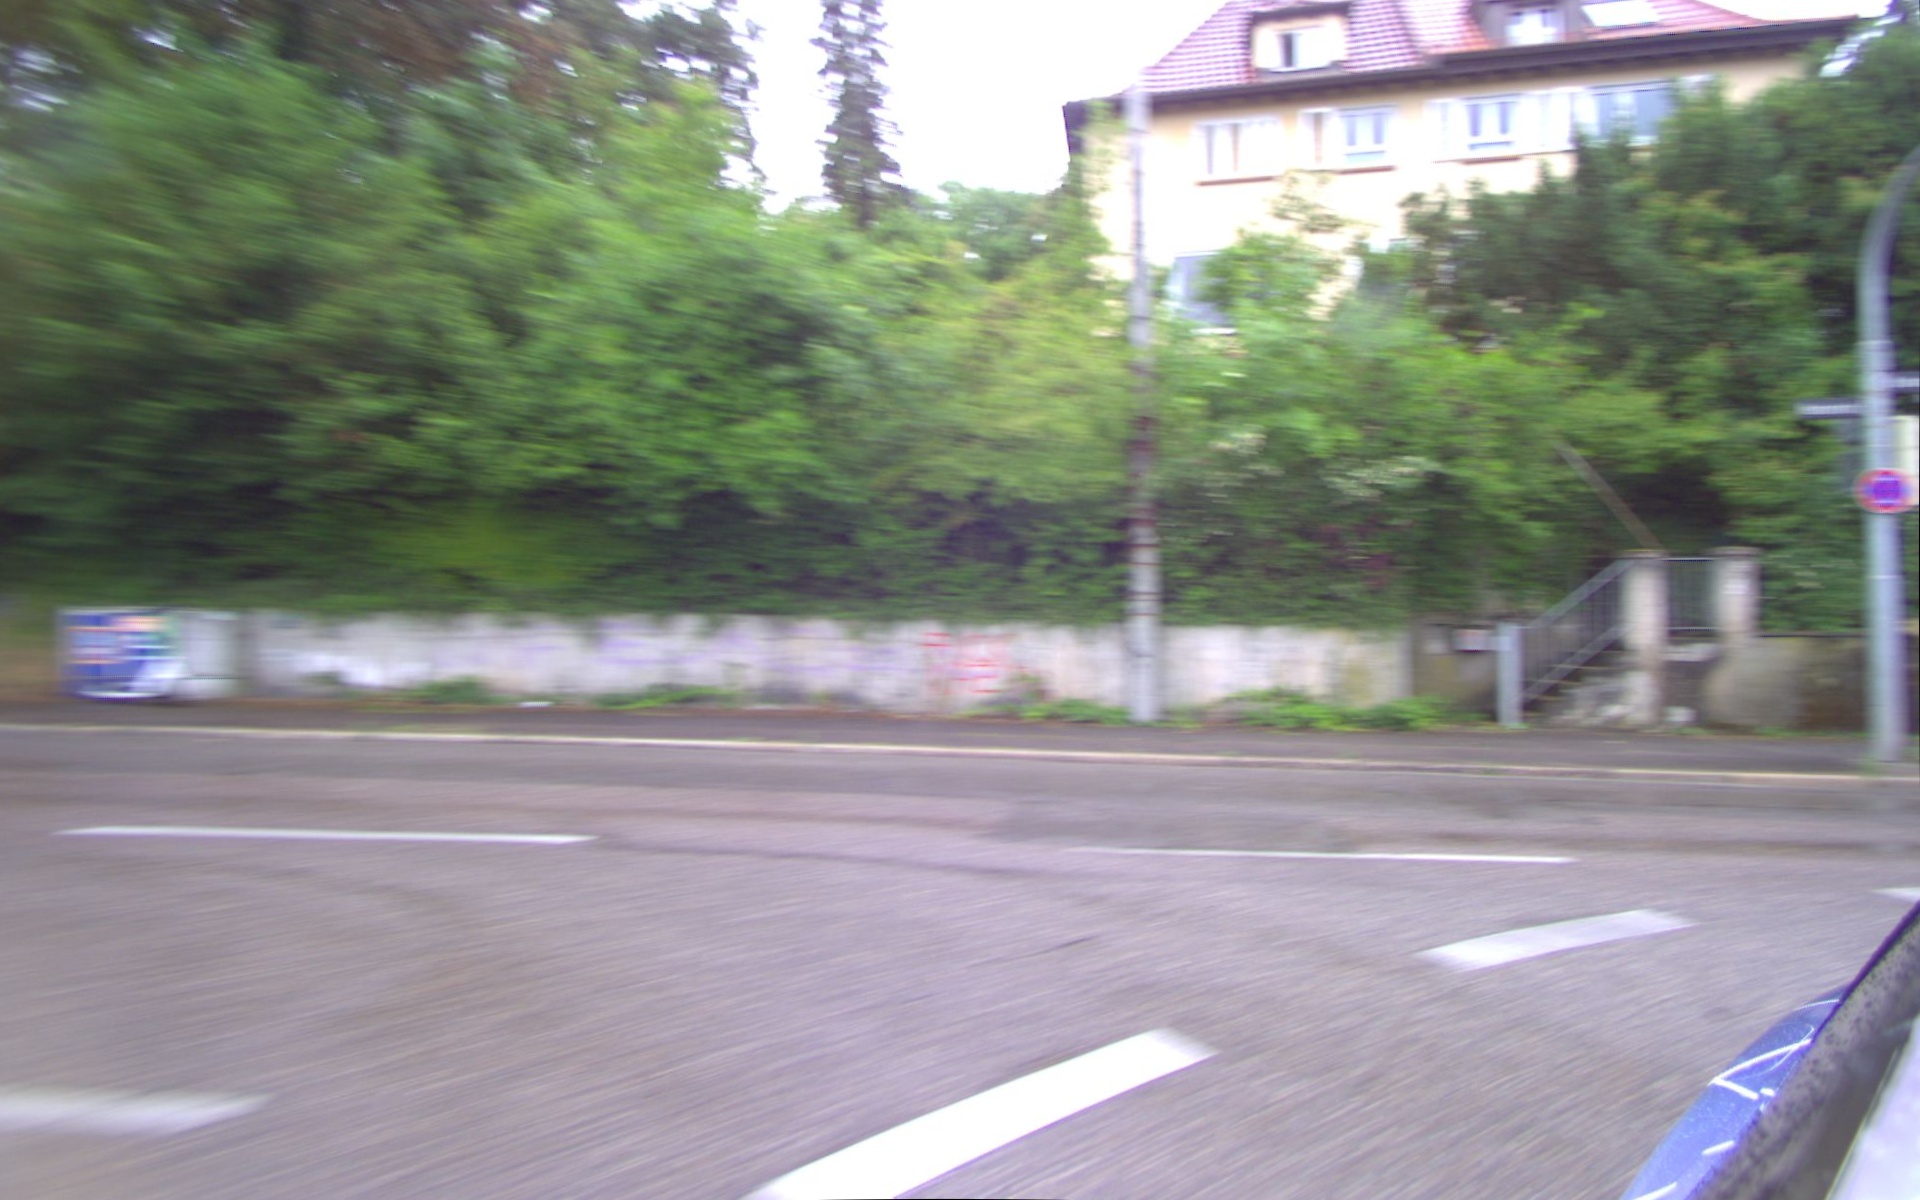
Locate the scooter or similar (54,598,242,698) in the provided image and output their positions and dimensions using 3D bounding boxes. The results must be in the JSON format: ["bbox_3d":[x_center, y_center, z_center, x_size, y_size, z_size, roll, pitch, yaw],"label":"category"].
[{"bbox_3d":[-9.336,0.539,11.660,1.737,1.089,0.603,1,-1,5],"label":"scooter or similar"}]
